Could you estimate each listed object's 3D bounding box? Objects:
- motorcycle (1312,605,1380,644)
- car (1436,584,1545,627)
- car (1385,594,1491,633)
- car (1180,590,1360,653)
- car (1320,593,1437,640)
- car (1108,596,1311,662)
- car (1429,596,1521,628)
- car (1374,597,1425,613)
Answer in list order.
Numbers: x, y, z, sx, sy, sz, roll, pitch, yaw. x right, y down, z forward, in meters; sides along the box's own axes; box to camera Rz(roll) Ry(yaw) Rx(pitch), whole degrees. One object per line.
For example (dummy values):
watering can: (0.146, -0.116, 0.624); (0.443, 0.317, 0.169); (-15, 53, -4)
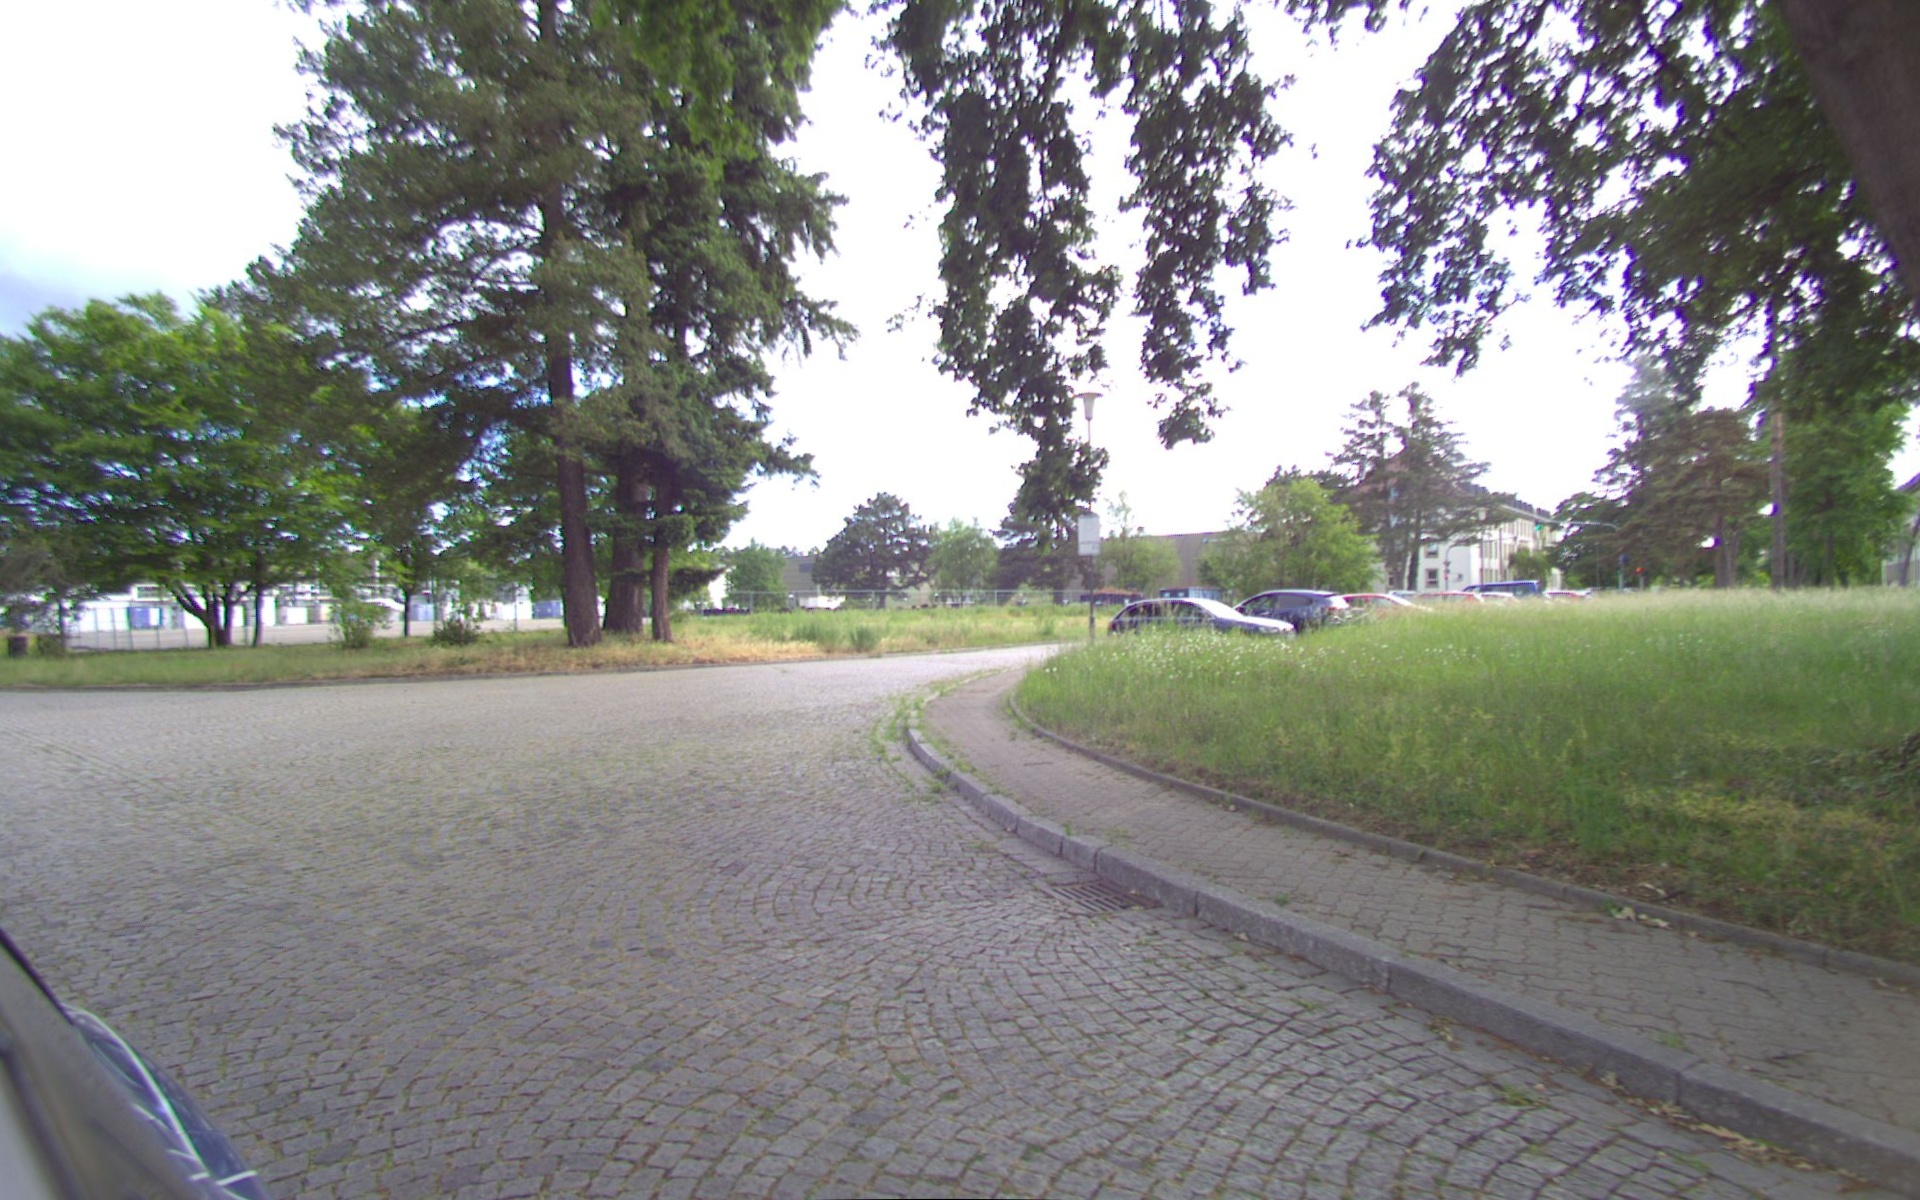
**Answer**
motorcycle: (12.237, 0.774, 32.119); (1.910, 1.202, 0.544); (-1, -1, 34)
car: (26.582, 0.289, 50.762); (4.539, 1.916, 1.770); (-4, -2, 38)
car: (19.671, 0.571, 41.673); (3.657, 1.432, 1.557); (-4, -2, 38)
car: (8.488, 0.620, 27.898); (4.359, 1.574, 1.742); (-3, -1, 38)
car: (14.803, 0.598, 35.883); (3.494, 1.493, 1.582); (-4, -2, 38)
car: (5.836, 0.705, 24.003); (4.353, 1.415, 1.740); (-3, -2, 42)
car: (24.895, 0.579, 48.926); (3.690, 1.349, 1.564); (-4, -2, 38)
car: (32.572, 0.344, 74.974); (3.262, 1.095, 1.432); (-1, 0, 36)
